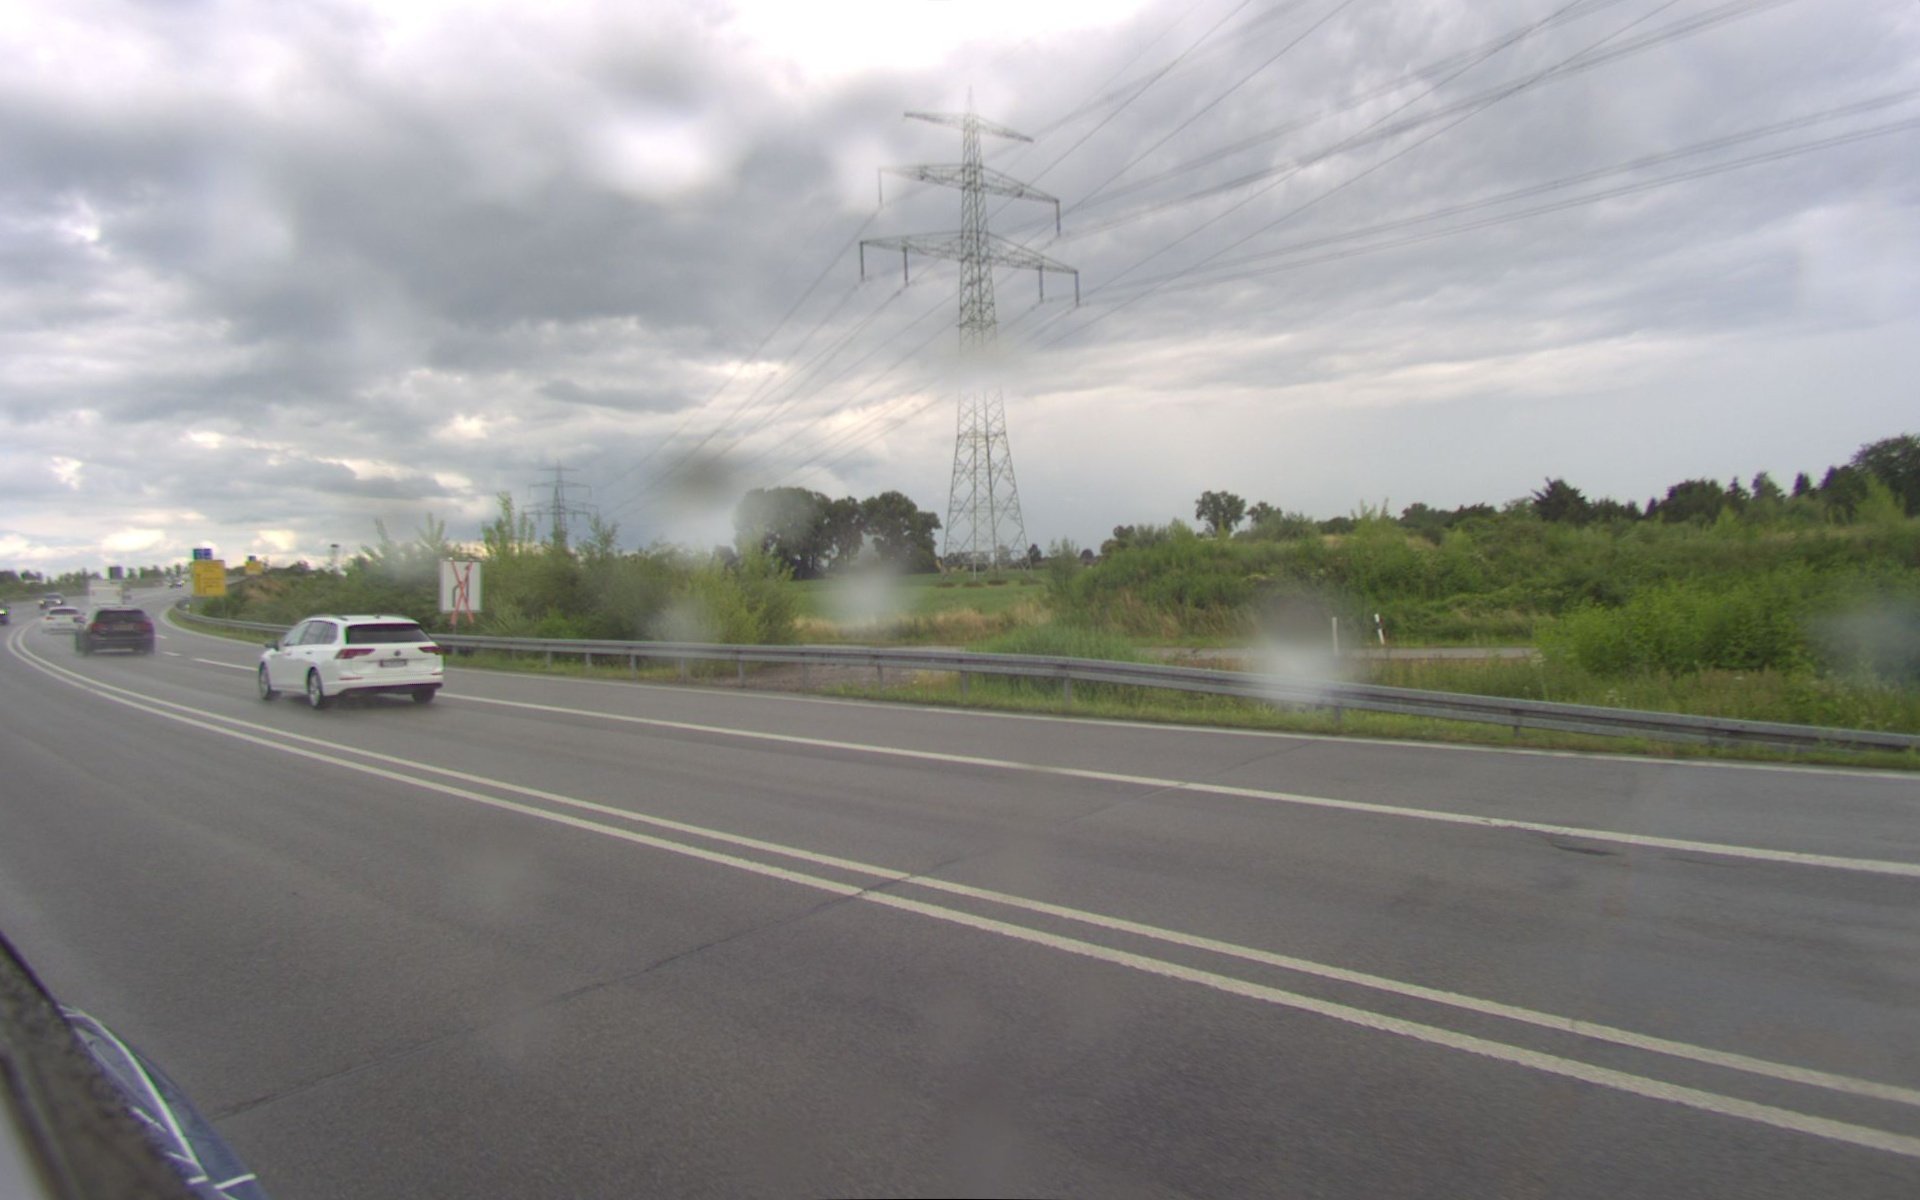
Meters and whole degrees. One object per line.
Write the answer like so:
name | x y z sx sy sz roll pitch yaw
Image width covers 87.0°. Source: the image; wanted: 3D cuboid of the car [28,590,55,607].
car | -89.453 -0.154 98.566 1.722 1.508 4.057 -2 1 -40

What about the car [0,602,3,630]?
car | -63.318 1.051 65.586 1.771 1.782 4.003 -2 1 -44

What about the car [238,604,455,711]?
car | -10.288 0.840 16.829 4.607 1.491 1.688 1 1 40

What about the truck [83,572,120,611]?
truck | -72.477 -0.692 85.465 2.228 3.179 6.701 1 0 -40

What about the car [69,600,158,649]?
car | -29.113 0.806 34.762 4.259 1.587 1.780 -1 -1 42

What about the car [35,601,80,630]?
car | -48.352 0.808 54.285 1.658 1.468 4.082 0 0 -40
